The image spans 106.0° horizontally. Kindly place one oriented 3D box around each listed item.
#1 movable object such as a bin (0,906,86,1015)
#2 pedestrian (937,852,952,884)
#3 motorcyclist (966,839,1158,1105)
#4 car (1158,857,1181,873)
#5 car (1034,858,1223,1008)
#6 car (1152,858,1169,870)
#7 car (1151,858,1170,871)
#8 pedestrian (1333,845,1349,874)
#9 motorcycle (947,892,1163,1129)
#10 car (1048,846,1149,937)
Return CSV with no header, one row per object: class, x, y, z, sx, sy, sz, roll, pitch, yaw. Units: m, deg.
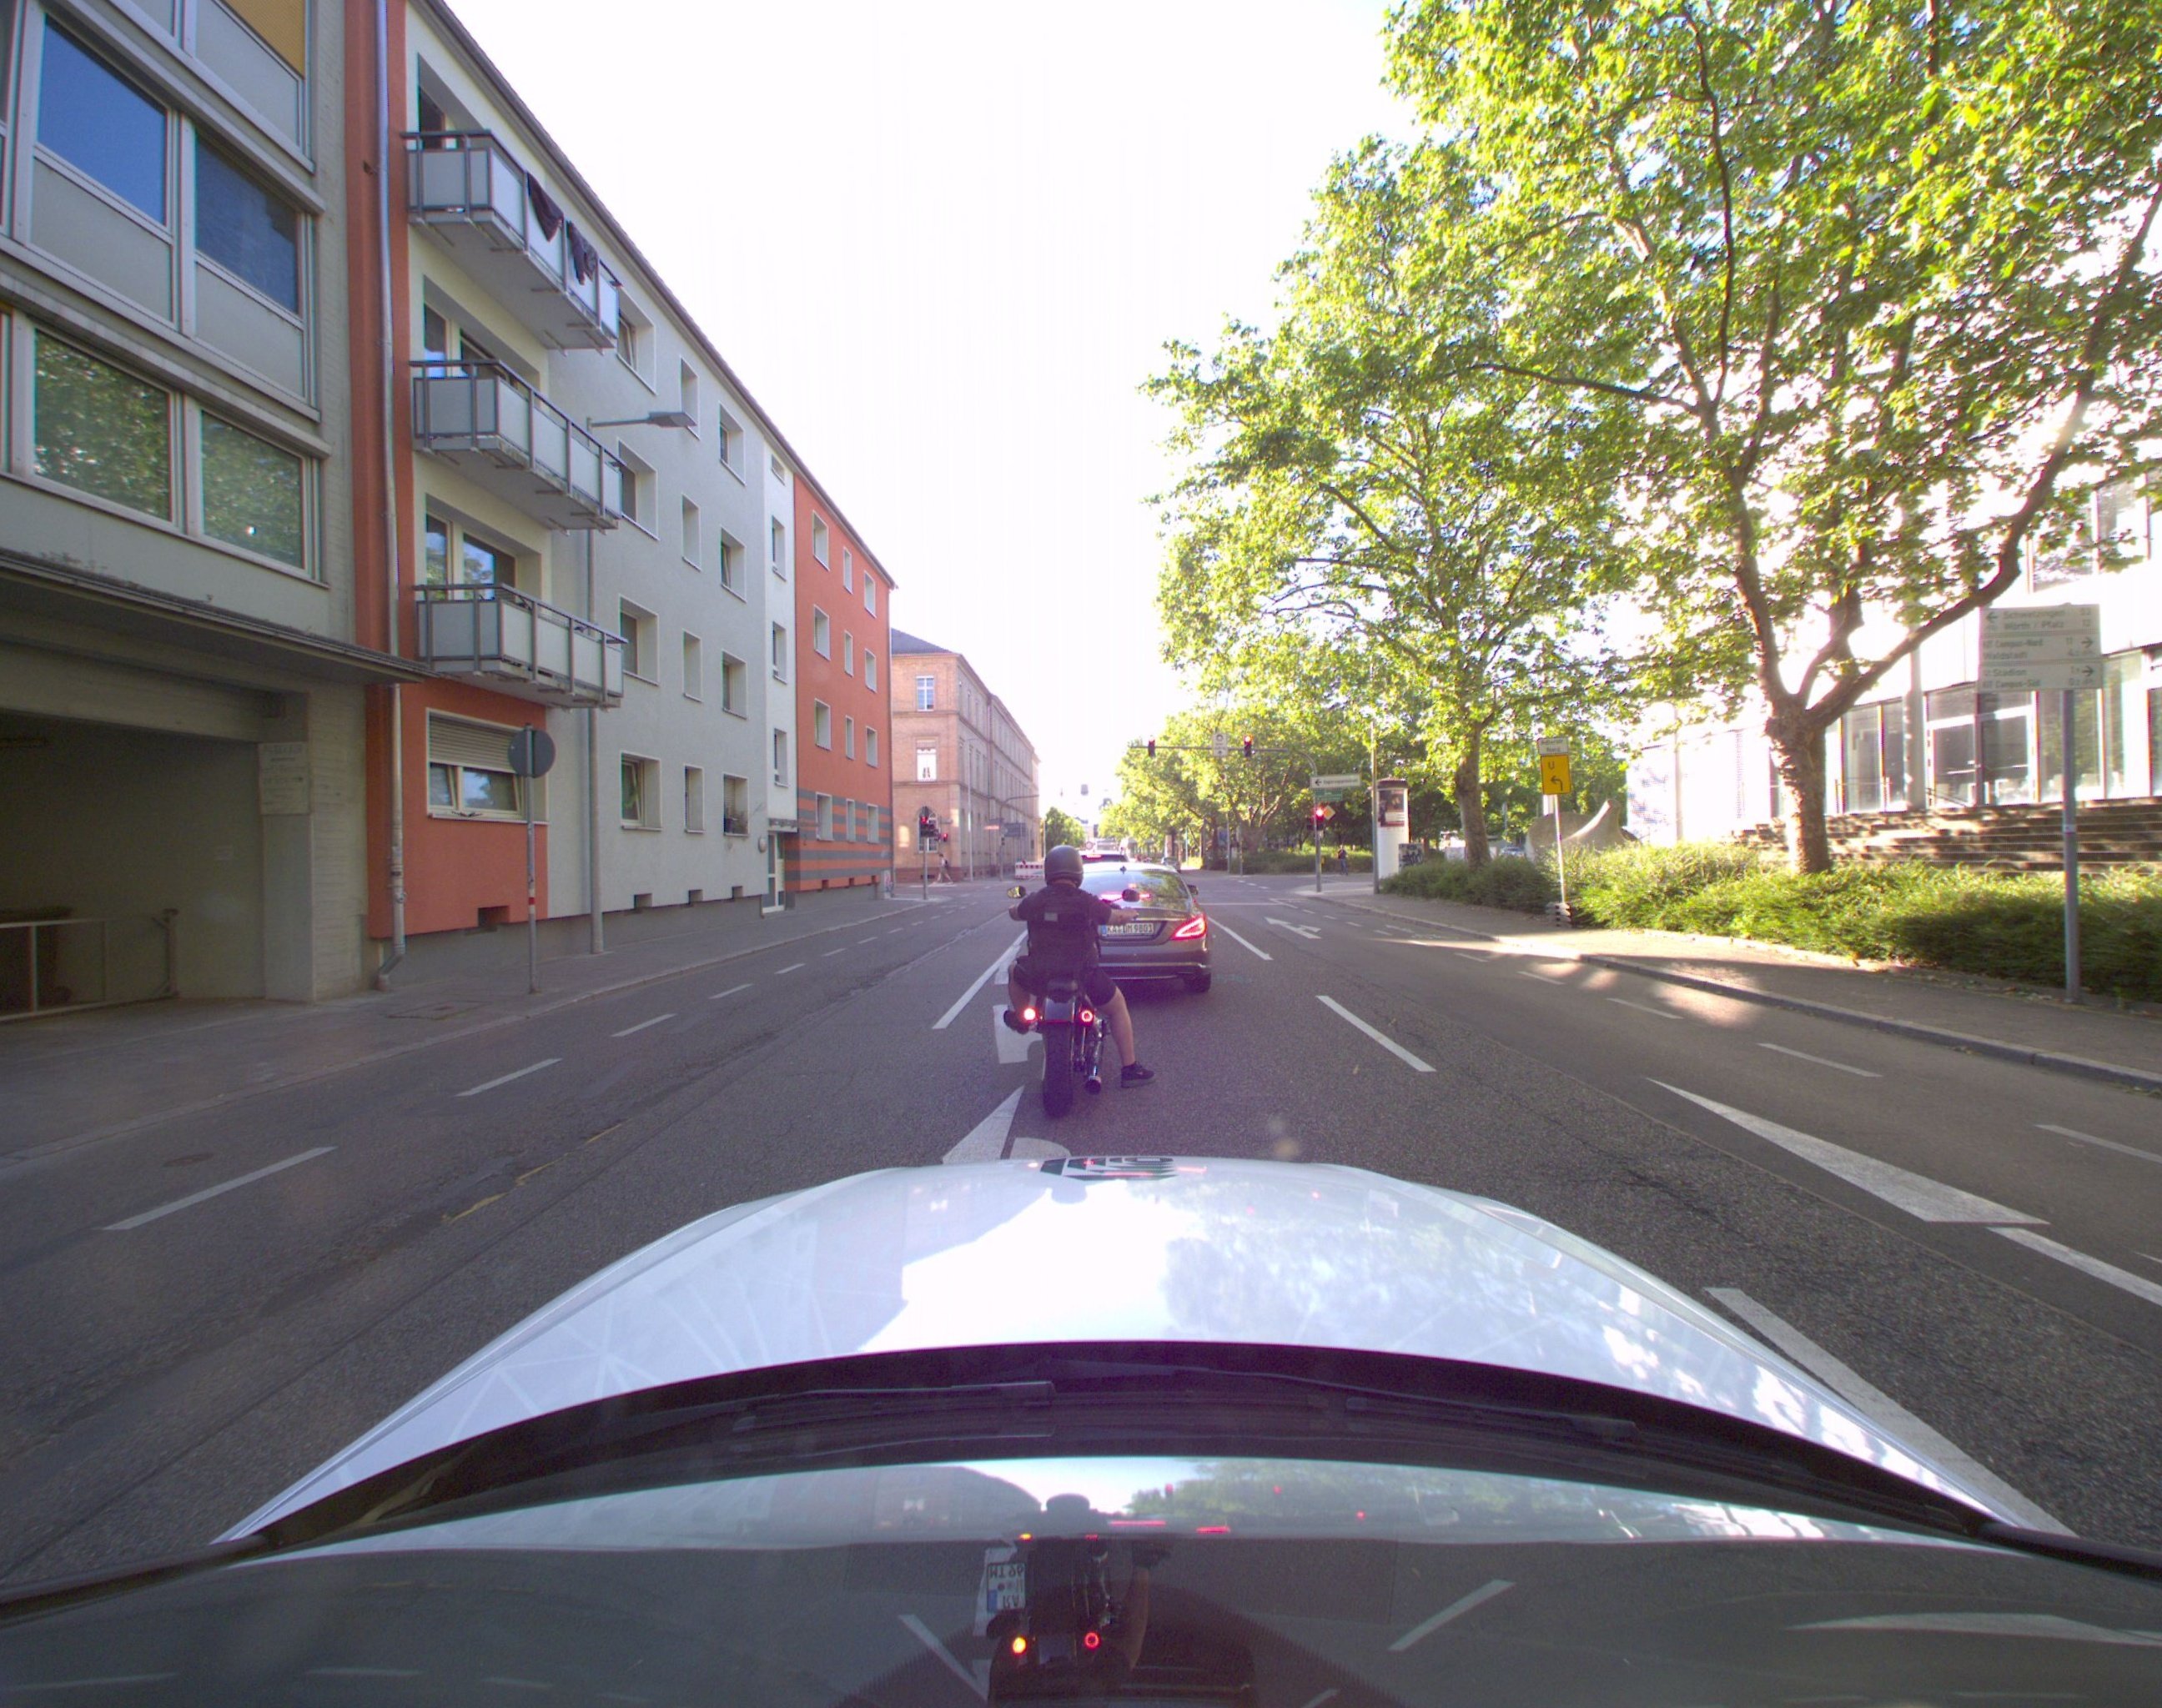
movable object such as a bin,-11.287,1.113,8.645,0.533,1.079,0.723,0,-1,3
pedestrian,-8.033,0.815,47.807,0.735,1.820,0.644,0,-1,1
motorcyclist,-0.073,0.701,5.401,1.093,1.566,1.074,0,-1,8
car,7.503,0.913,69.048,1.625,1.259,3.717,0,0,2
car,0.517,0.776,9.777,1.815,1.437,3.807,0,-1,2
car,8.429,1.049,86.739,1.625,1.259,3.717,0,0,2
car,7.971,1.011,81.531,1.625,1.259,3.717,0,0,2
pedestrian,15.955,0.351,49.953,0.728,1.778,0.734,-1,-1,32
motorcycle,-0.044,0.909,5.620,1.111,1.207,2.217,0,-1,8
car,0.378,0.707,17.065,1.856,1.678,4.001,0,-1,2
